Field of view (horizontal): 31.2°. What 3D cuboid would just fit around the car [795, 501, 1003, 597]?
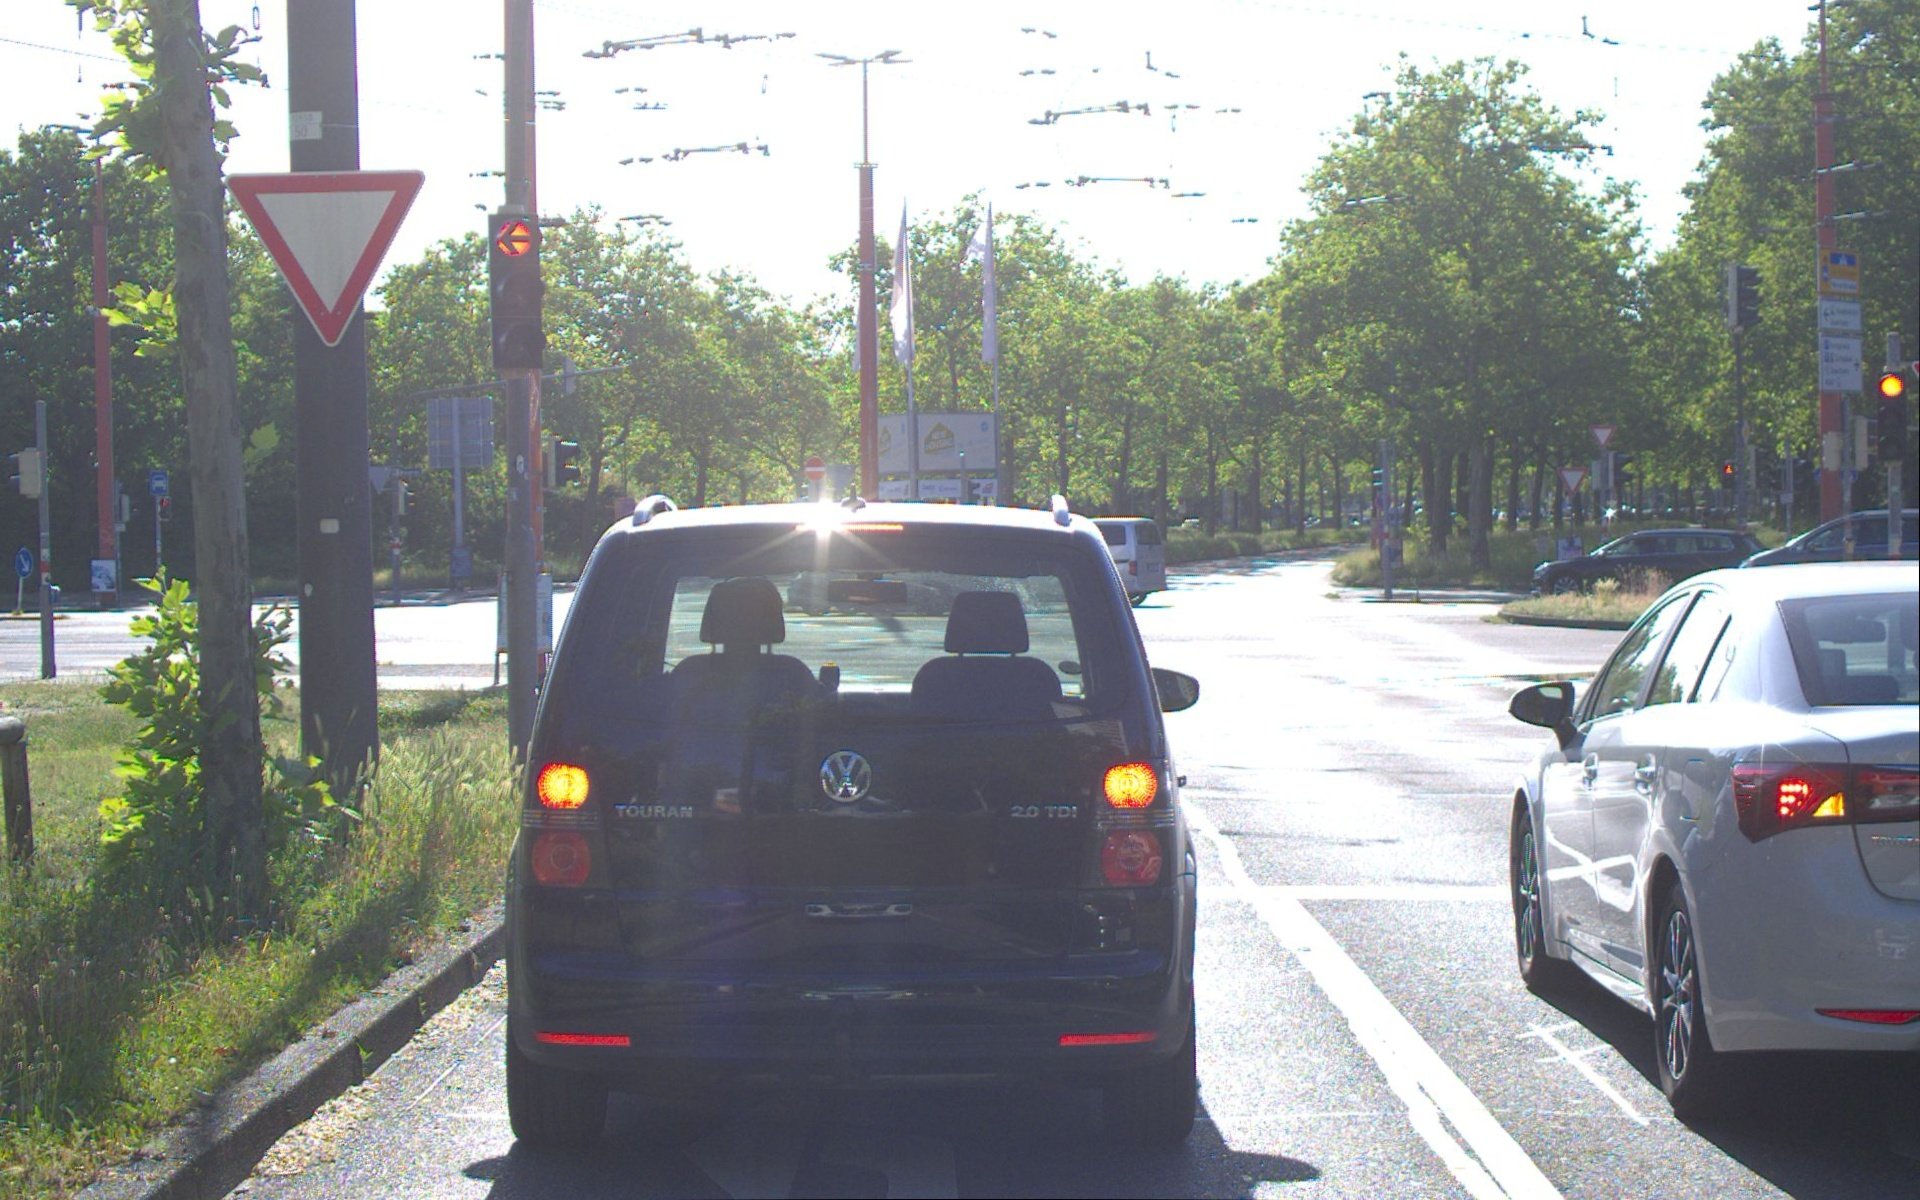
[{"bbox_3d":[-1.251,-1.047,70.219,3.837,1.883,1.762,1,1,23],"label":"car"}]

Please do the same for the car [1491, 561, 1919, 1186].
[{"bbox_3d":[2.718,0.621,10.103,1.720,1.433,4.198,1,1,1],"label":"car"}]

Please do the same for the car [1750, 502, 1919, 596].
[{"bbox_3d":[16.541,-0.904,61.920,4.185,1.638,1.757,1,1,27],"label":"car"}]

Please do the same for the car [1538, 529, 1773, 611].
[{"bbox_3d":[13.566,-0.583,67.069,4.127,1.505,1.820,1,1,26],"label":"car"}]

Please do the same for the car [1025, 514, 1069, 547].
[{"bbox_3d":[4.553,-3.647,180.381,1.915,1.630,3.999,1,1,7],"label":"car"}]

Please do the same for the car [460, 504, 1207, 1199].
[{"bbox_3d":[-0.317,0.560,9.818,1.700,1.616,3.897,0,1,-1],"label":"car"}]

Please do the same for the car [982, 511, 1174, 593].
[{"bbox_3d":[2.488,-1.008,72.574,3.647,1.650,1.678,1,1,25],"label":"car"}]
